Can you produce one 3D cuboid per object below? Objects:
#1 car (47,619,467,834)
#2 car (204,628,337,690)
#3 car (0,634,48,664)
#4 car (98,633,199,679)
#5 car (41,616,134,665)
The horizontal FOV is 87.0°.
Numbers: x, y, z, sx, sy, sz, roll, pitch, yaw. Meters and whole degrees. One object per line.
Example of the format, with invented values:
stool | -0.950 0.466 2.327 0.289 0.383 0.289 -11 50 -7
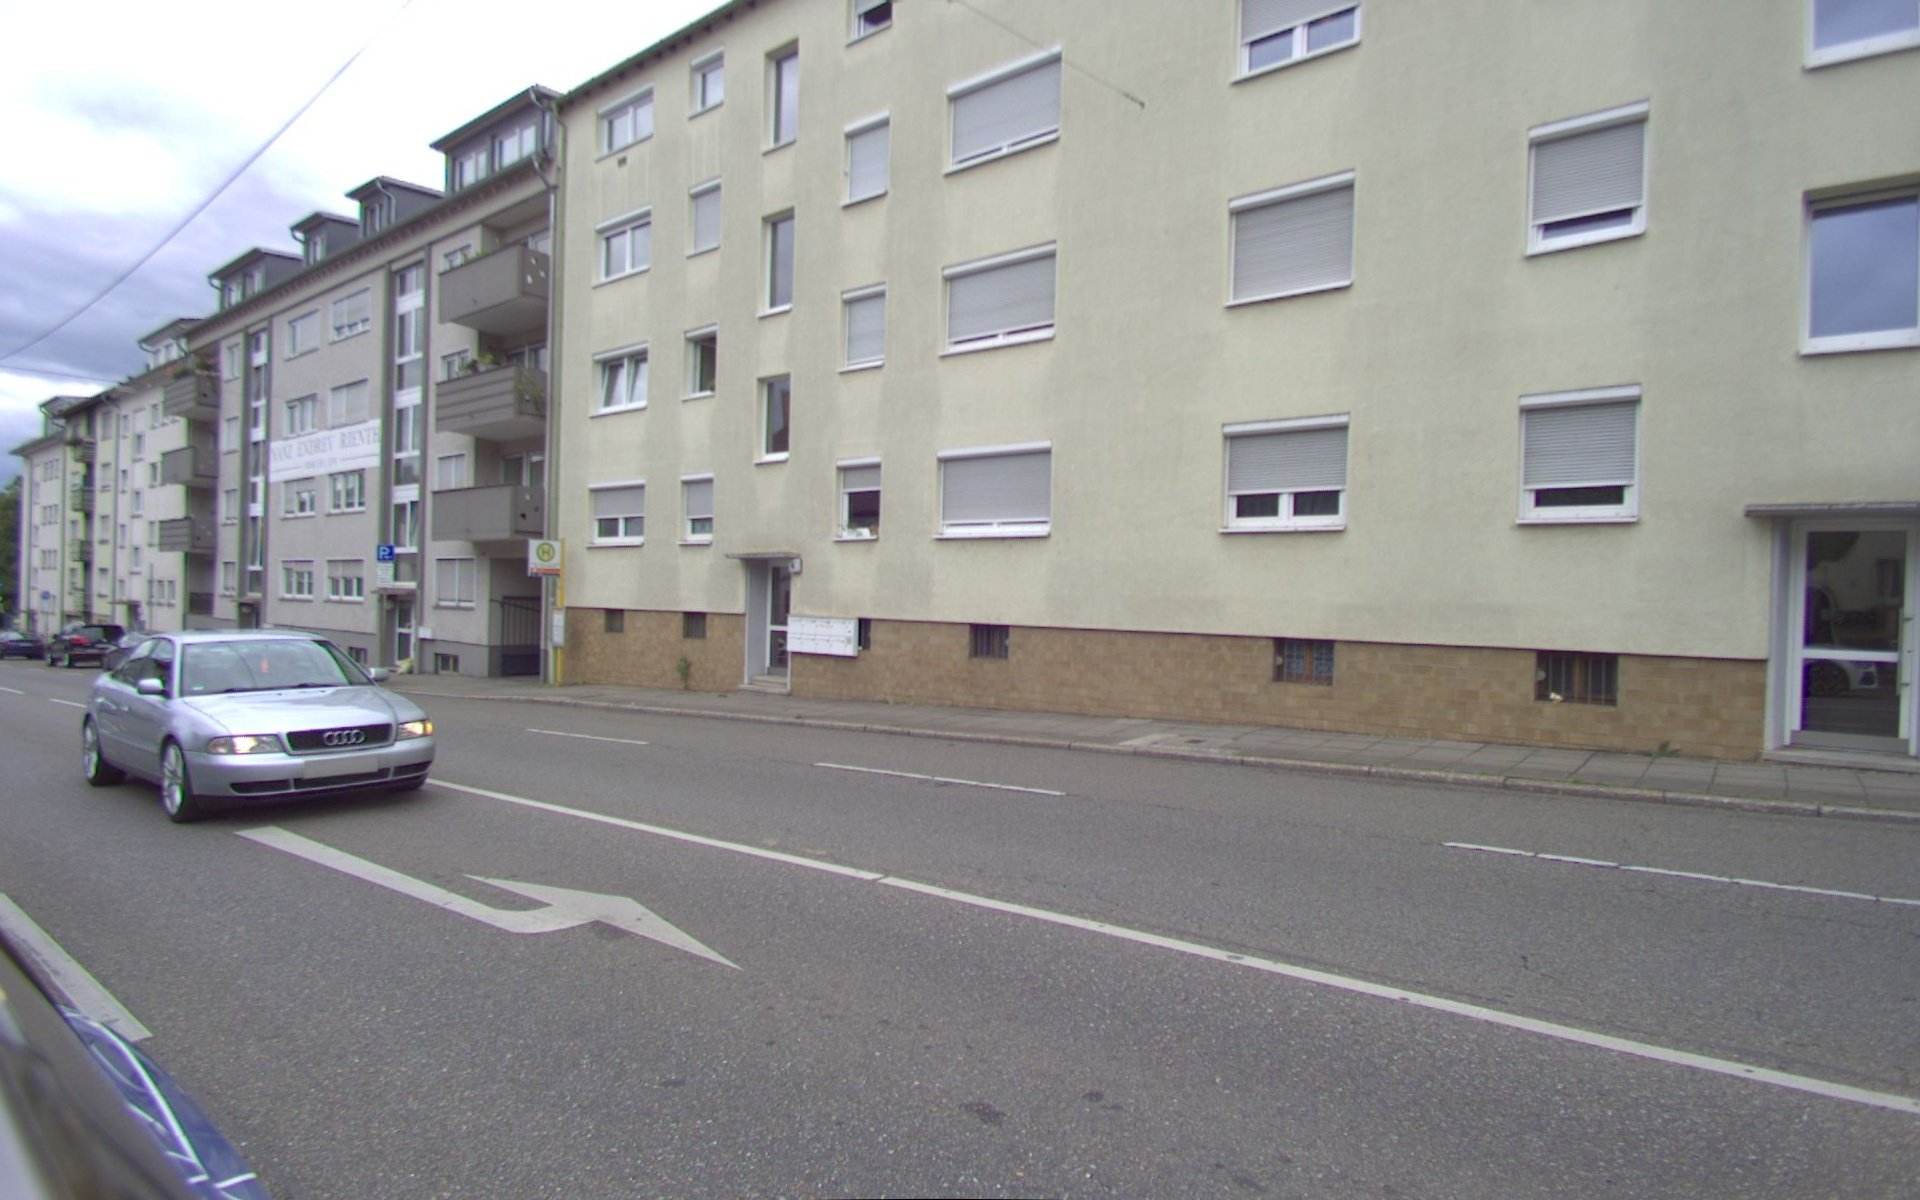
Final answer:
car | -6.052 0.904 8.544 4.169 1.383 1.681 -2 -2 37
car | -17.816 1.499 26.109 3.797 1.447 1.751 -1 -4 39
car | -46.423 2.378 49.719 4.305 1.391 1.851 -1 -4 41
car | -26.512 1.780 33.016 4.304 1.416 1.750 -1 -2 40
car | -33.555 1.549 38.893 4.302 1.767 1.852 -1 -4 39
